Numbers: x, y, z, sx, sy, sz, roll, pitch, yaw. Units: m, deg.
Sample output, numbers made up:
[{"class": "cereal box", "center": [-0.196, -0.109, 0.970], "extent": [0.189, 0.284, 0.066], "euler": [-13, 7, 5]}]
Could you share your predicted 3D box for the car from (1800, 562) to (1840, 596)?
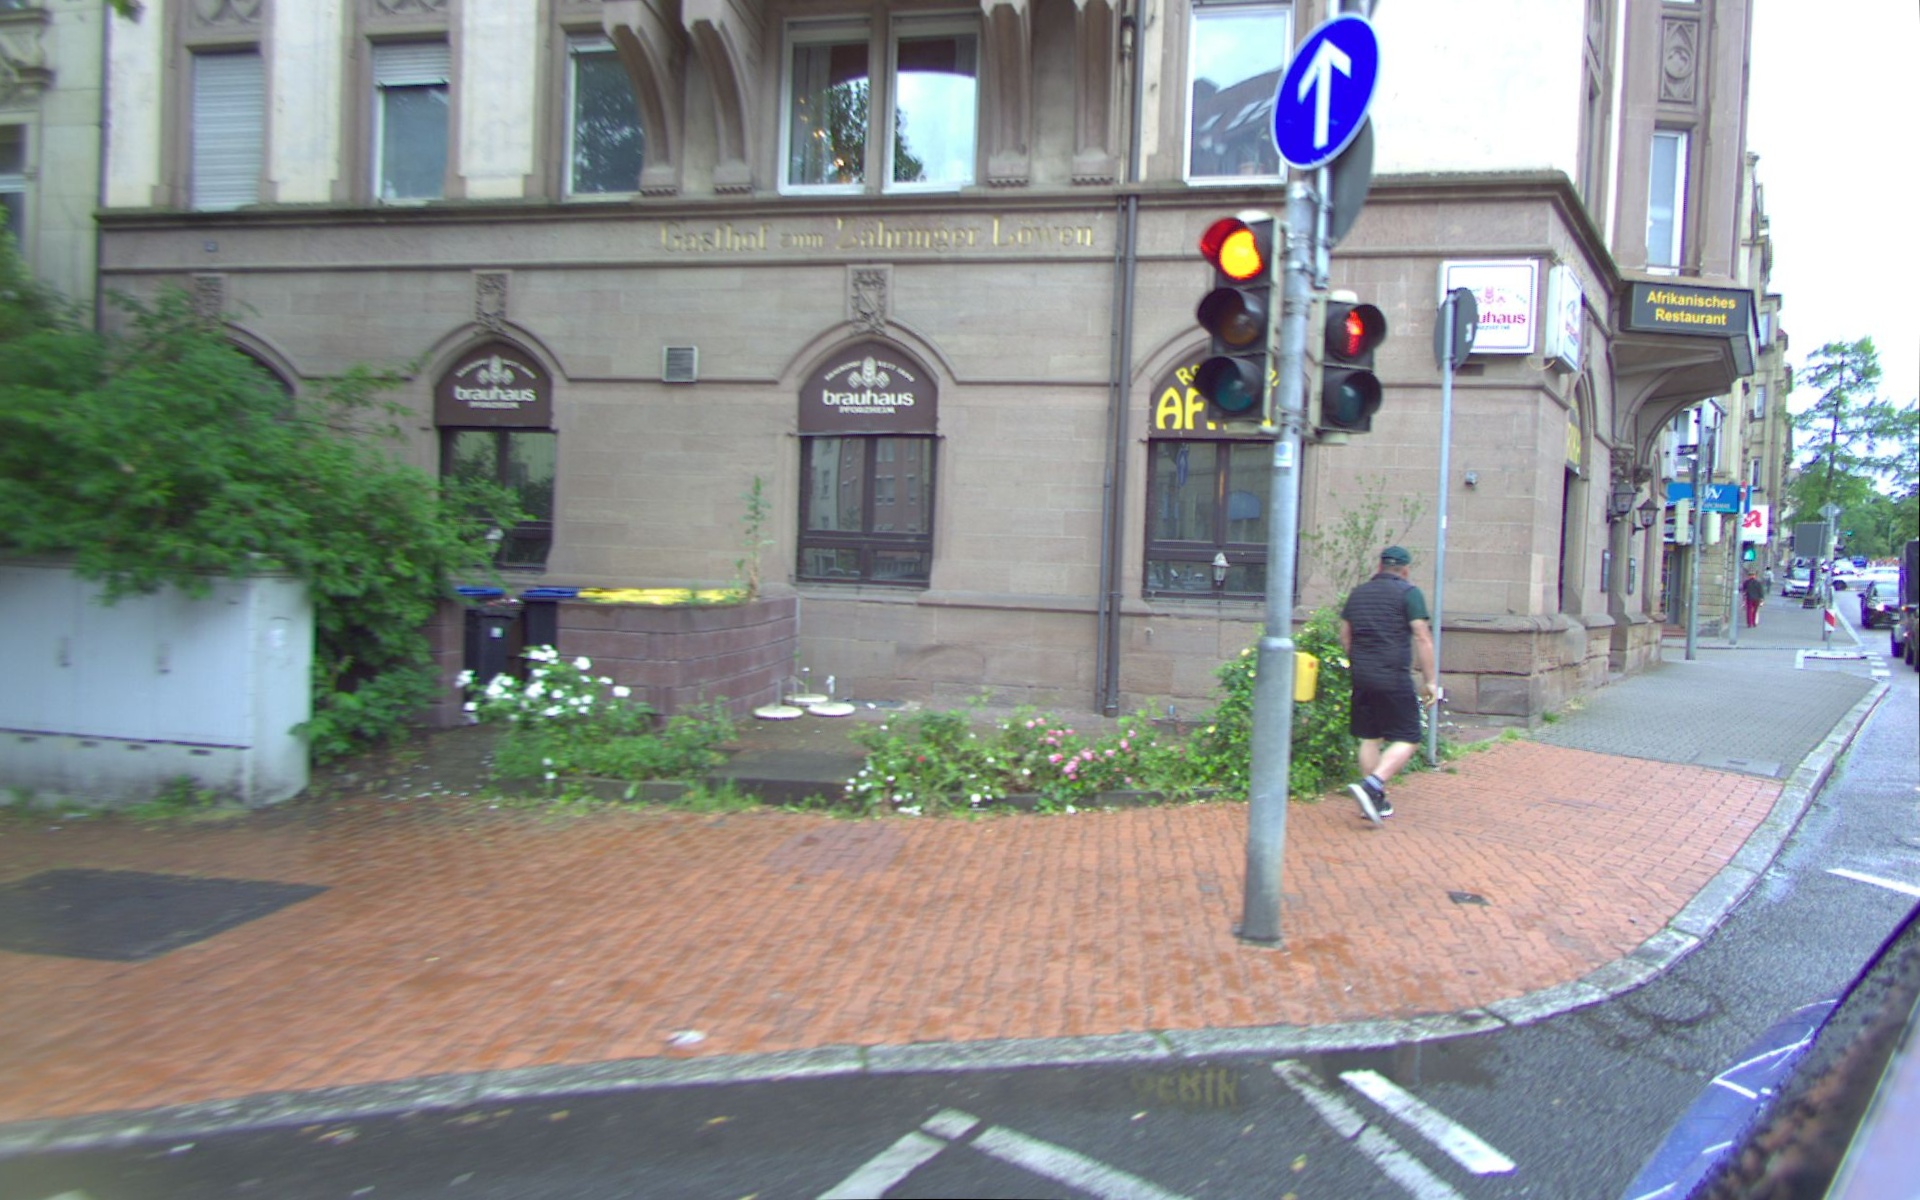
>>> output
[{"class": "car", "center": [47.388, -1.187, 55.796], "extent": [1.521, 1.636, 3.445], "euler": [7, 8, 39]}]

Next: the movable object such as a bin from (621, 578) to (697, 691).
[{"class": "movable object such as a bin", "center": [-2.971, 0.327, 10.009], "extent": [0.549, 1.078, 0.541], "euler": [0, 1, 7]}]

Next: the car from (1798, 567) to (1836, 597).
[{"class": "car", "center": [50.790, -1.096, 60.011], "extent": [1.542, 1.503, 3.709], "euler": [8, 7, 39]}]

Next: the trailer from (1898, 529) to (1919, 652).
[{"class": "trailer", "center": [23.023, -0.228, 23.232], "extent": [1.931, 2.669, 4.616], "euler": [1, 2, 40]}]

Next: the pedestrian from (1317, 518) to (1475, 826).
[{"class": "pedestrian", "center": [2.677, 0.390, 6.180], "extent": [0.823, 1.700, 0.885], "euler": [0, 1, 28]}]

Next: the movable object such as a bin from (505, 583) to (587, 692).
[{"class": "movable object such as a bin", "center": [-4.174, 0.365, 10.218], "extent": [0.584, 1.070, 0.531], "euler": [0, 1, 7]}]

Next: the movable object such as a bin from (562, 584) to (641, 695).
[{"class": "movable object such as a bin", "center": [-3.576, 0.381, 10.124], "extent": [0.565, 1.070, 0.536], "euler": [0, 1, 7]}]

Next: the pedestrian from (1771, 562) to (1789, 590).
[{"class": "pedestrian", "center": [46.540, -1.371, 57.434], "extent": [0.643, 1.513, 0.681], "euler": [6, 9, 40]}]

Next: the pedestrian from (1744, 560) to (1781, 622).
[{"class": "pedestrian", "center": [27.085, -0.319, 34.147], "extent": [1.072, 1.971, 0.699], "euler": [-5, 8, -41]}]
